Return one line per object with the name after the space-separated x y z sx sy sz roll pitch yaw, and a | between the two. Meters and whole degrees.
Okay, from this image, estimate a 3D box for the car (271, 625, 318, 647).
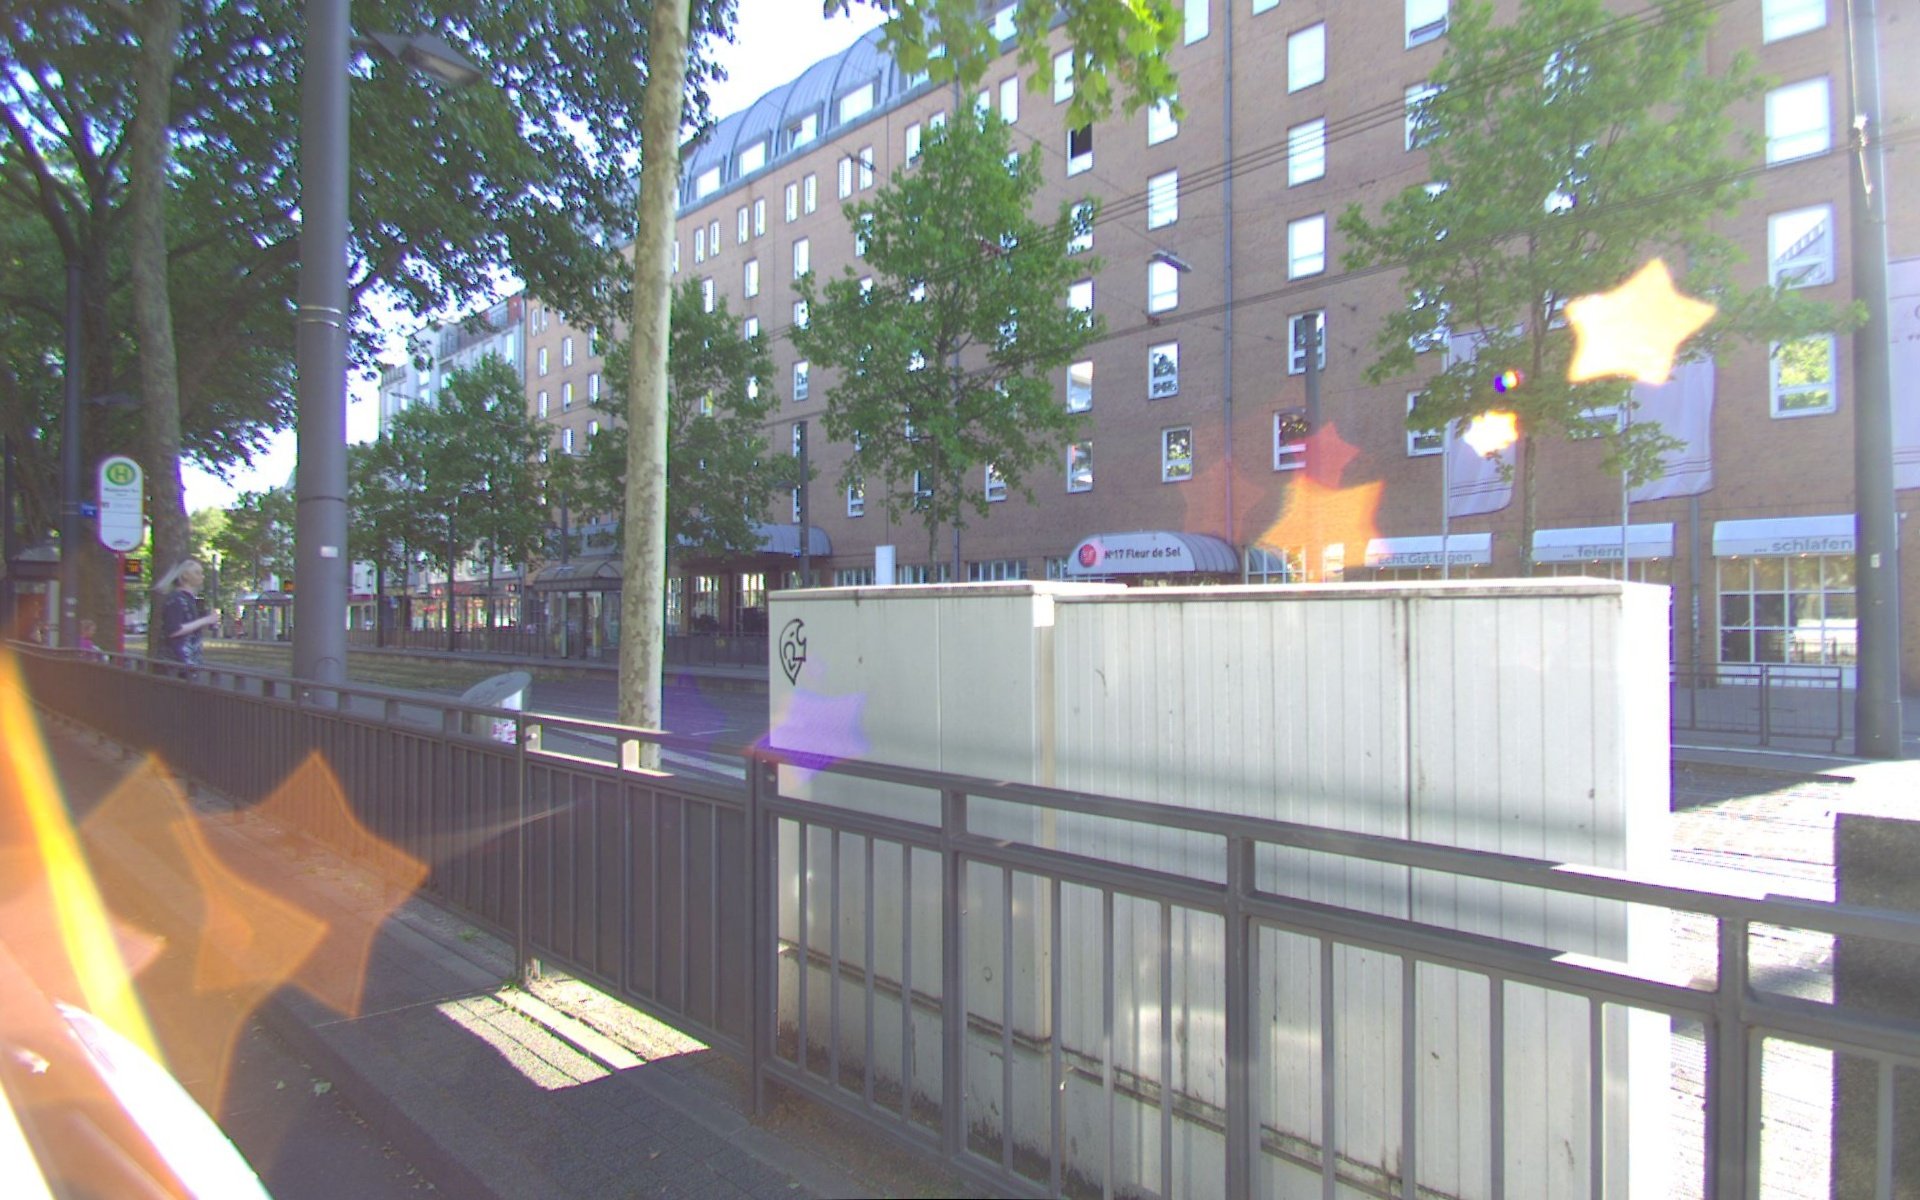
-46.785 2.509 71.102 4.308 1.500 1.737 -2 -2 42 | car

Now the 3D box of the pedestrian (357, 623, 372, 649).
-46.967 2.799 79.776 0.763 2.029 0.796 -2 -2 41 | pedestrian

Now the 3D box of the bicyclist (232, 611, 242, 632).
-65.981 1.971 92.330 0.564 1.918 0.814 2 -2 -43 | bicyclist

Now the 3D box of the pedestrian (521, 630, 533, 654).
-26.641 2.565 62.296 0.516 1.447 0.512 -2 -2 44 | pedestrian

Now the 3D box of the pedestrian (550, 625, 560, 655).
-20.858 2.065 52.125 0.431 1.518 0.660 1 -2 -27 | pedestrian

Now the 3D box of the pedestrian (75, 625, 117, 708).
-13.956 1.062 16.353 0.493 1.325 0.419 1 -2 -41 | pedestrian

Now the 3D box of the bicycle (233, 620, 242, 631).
-66.028 2.349 92.478 0.444 1.012 1.754 2 -2 -44 | bicycle

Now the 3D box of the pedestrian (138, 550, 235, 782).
-6.640 0.538 8.687 0.613 1.897 0.607 1 0 -41 | pedestrian

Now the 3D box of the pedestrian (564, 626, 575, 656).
-20.301 2.121 52.641 0.431 1.532 0.660 1 -2 -27 | pedestrian
